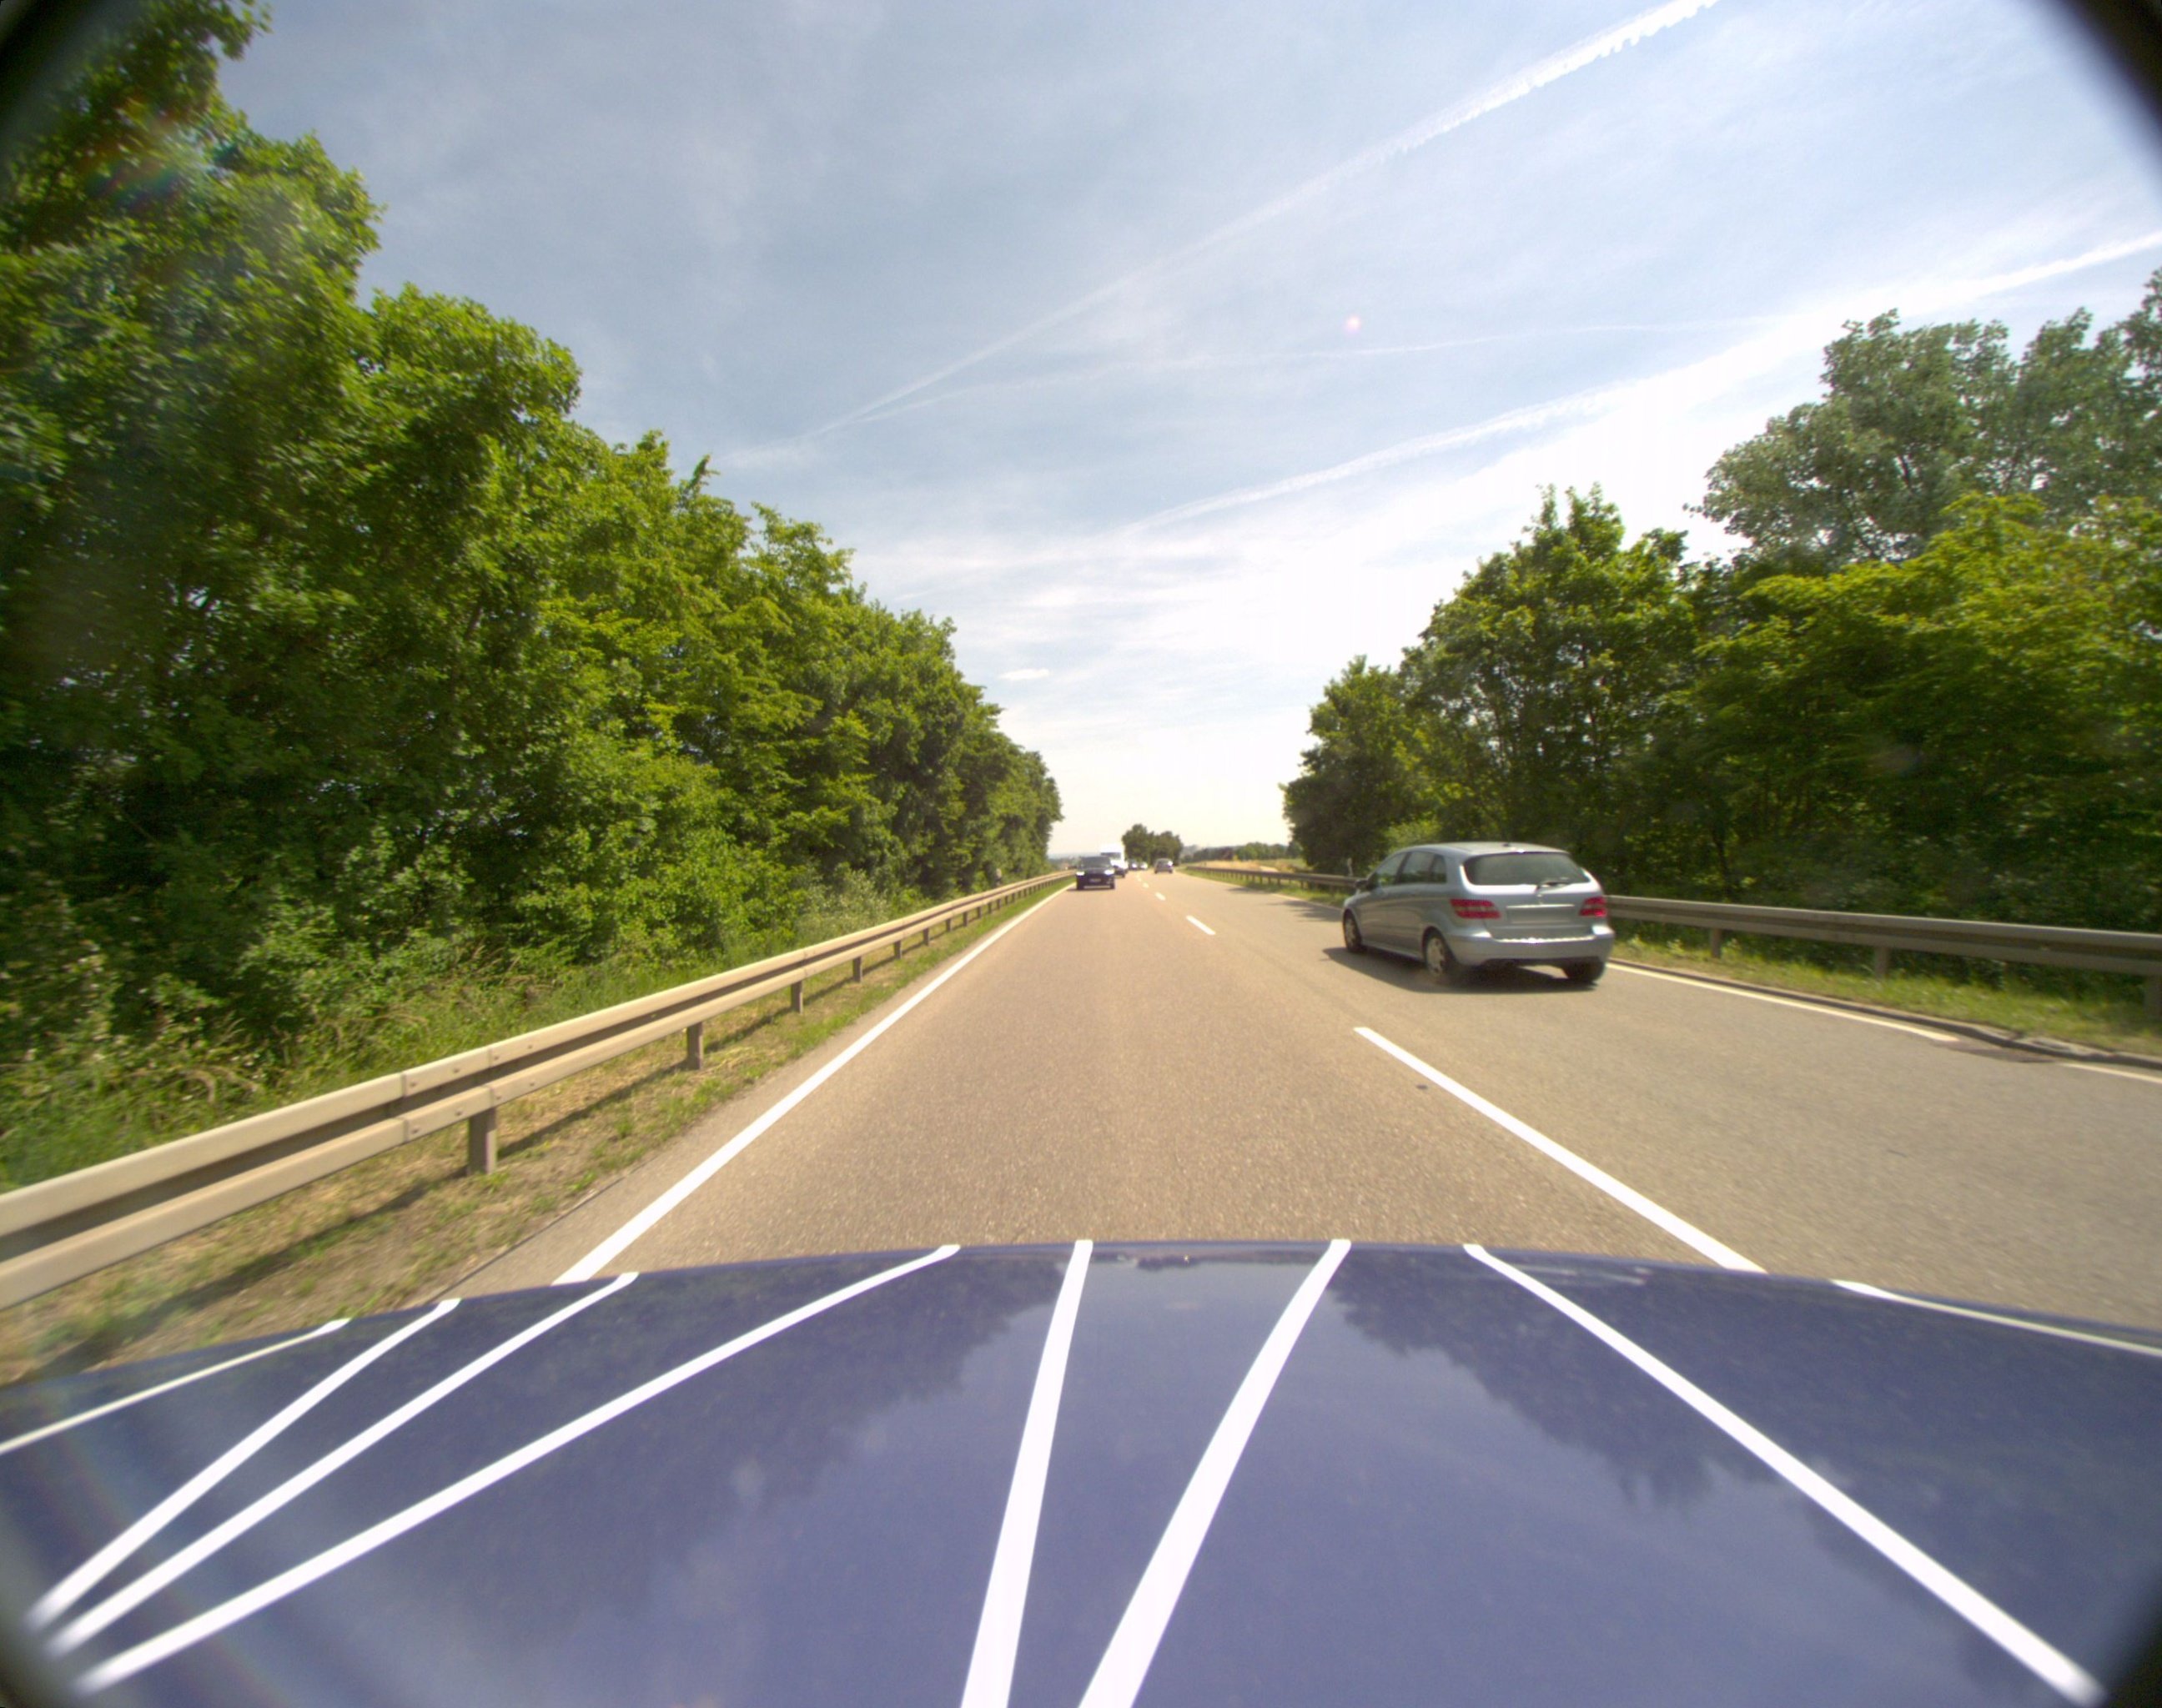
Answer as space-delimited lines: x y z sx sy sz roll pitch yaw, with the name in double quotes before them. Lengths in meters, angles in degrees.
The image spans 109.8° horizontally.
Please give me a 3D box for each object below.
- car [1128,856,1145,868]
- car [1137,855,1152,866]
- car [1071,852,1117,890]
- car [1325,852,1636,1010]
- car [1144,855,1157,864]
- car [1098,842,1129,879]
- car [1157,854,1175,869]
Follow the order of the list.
"car" 8.053 1.164 109.945 2.038 1.641 4.747 -1 0 8
"car" 10.803 1.086 128.457 2.037 1.641 4.748 -1 0 11
"car" 0.737 0.767 38.110 2.039 1.691 5.514 -2 0 3
"car" 4.689 0.766 9.748 1.664 1.542 4.337 -1 0 0
"car" 13.532 1.090 147.310 2.037 1.641 4.748 -1 0 10
"car" 2.617 0.448 60.137 2.225 2.618 5.752 -2 2 4
"car" 8.794 0.727 78.514 1.747 1.458 5.130 -1 0 7
